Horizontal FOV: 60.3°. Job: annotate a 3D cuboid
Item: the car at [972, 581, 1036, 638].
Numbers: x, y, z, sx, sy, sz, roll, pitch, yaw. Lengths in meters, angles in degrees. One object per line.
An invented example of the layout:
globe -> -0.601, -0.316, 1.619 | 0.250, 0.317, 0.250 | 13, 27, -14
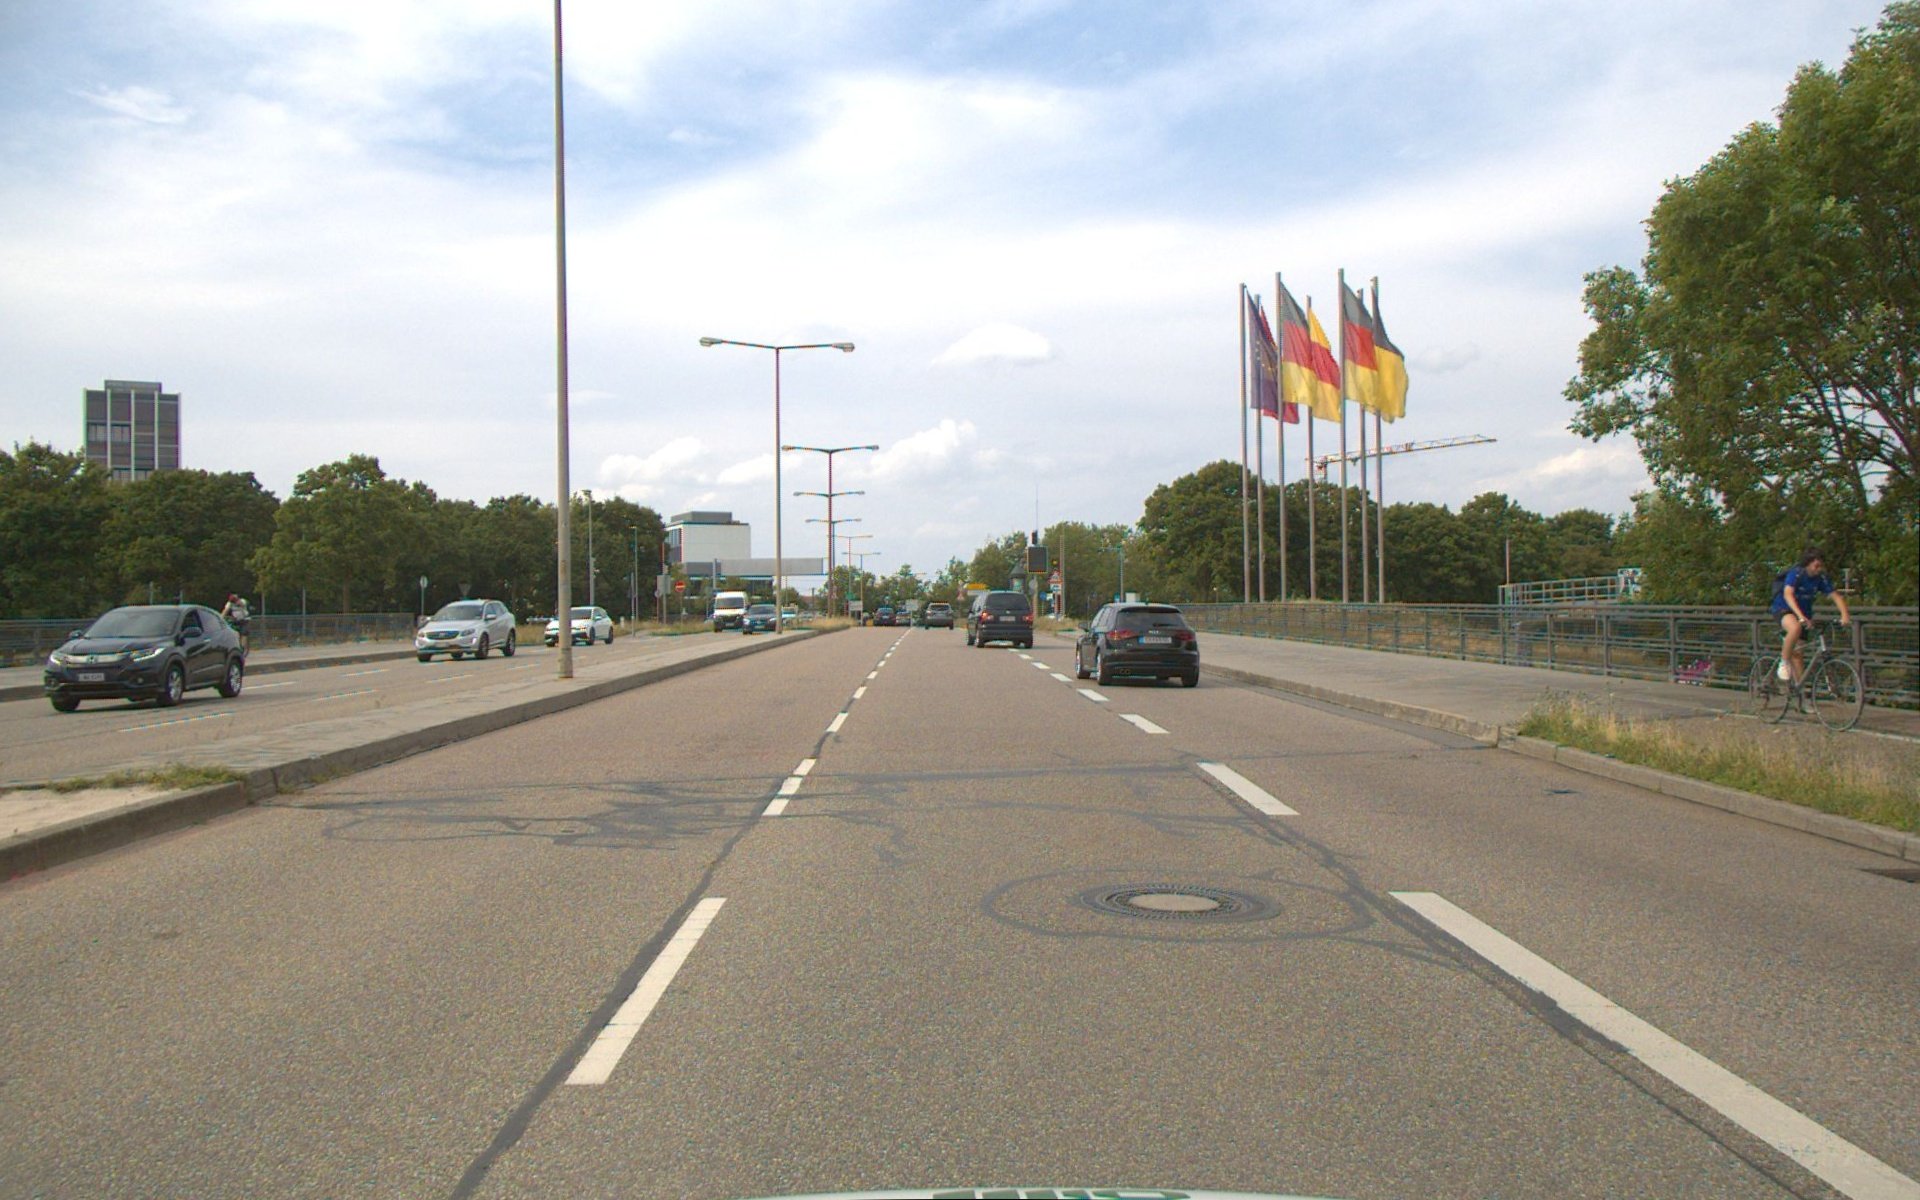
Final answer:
car -> 1.341, 0.314, 51.749 | 1.696, 1.682, 4.112 | 0, -1, -2

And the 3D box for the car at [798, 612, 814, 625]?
car -> -18.916, 2.271, 203.333 | 1.710, 1.501, 4.561 | -1, 0, -3

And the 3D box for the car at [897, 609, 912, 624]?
car -> -6.170, 1.848, 183.185 | 1.696, 1.553, 4.113 | 0, -1, -2

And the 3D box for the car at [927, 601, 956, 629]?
car -> -1.153, 0.930, 102.389 | 1.696, 1.682, 4.112 | 0, -1, -2

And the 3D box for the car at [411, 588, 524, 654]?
car -> -14.272, 0.592, 48.195 | 1.825, 1.755, 4.769 | -2, 0, -1

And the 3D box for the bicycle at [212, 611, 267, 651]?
bicycle -> -19.625, 0.829, 45.091 | 0.692, 1.068, 2.058 | 0, 0, -4

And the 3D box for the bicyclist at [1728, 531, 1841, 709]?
bicyclist -> 8.032, 0.181, 16.141 | 0.651, 1.688, 0.805 | 1, 1, -2

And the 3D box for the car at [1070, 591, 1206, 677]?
car -> 3.093, 0.589, 29.487 | 1.696, 1.419, 4.111 | 0, -1, -4

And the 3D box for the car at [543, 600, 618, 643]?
car -> -14.581, 0.802, 63.788 | 1.702, 1.506, 4.472 | -2, 0, 1

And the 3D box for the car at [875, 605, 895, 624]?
car -> -6.616, 1.296, 145.431 | 1.696, 1.682, 4.112 | 0, -1, -2

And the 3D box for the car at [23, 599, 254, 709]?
car -> -12.928, 0.802, 26.333 | 1.705, 1.542, 4.312 | -2, 0, -4

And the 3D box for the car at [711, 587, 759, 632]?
car -> -14.025, 0.562, 103.285 | 2.011, 2.689, 6.400 | -2, 0, 0

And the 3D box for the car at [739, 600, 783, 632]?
car -> -10.001, 0.835, 83.441 | 1.703, 1.506, 4.774 | -2, -1, -2

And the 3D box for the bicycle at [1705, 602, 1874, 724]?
bicycle -> 8.041, 0.578, 16.131 | 0.565, 1.039, 1.975 | -3, 1, -2

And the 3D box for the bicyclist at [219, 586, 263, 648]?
bicyclist -> -19.598, 0.466, 45.113 | 0.779, 1.655, 0.975 | 1, -1, -4

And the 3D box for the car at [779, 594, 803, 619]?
car -> -13.478, 0.542, 132.115 | 1.508, 1.904, 3.570 | -2, 0, 0
